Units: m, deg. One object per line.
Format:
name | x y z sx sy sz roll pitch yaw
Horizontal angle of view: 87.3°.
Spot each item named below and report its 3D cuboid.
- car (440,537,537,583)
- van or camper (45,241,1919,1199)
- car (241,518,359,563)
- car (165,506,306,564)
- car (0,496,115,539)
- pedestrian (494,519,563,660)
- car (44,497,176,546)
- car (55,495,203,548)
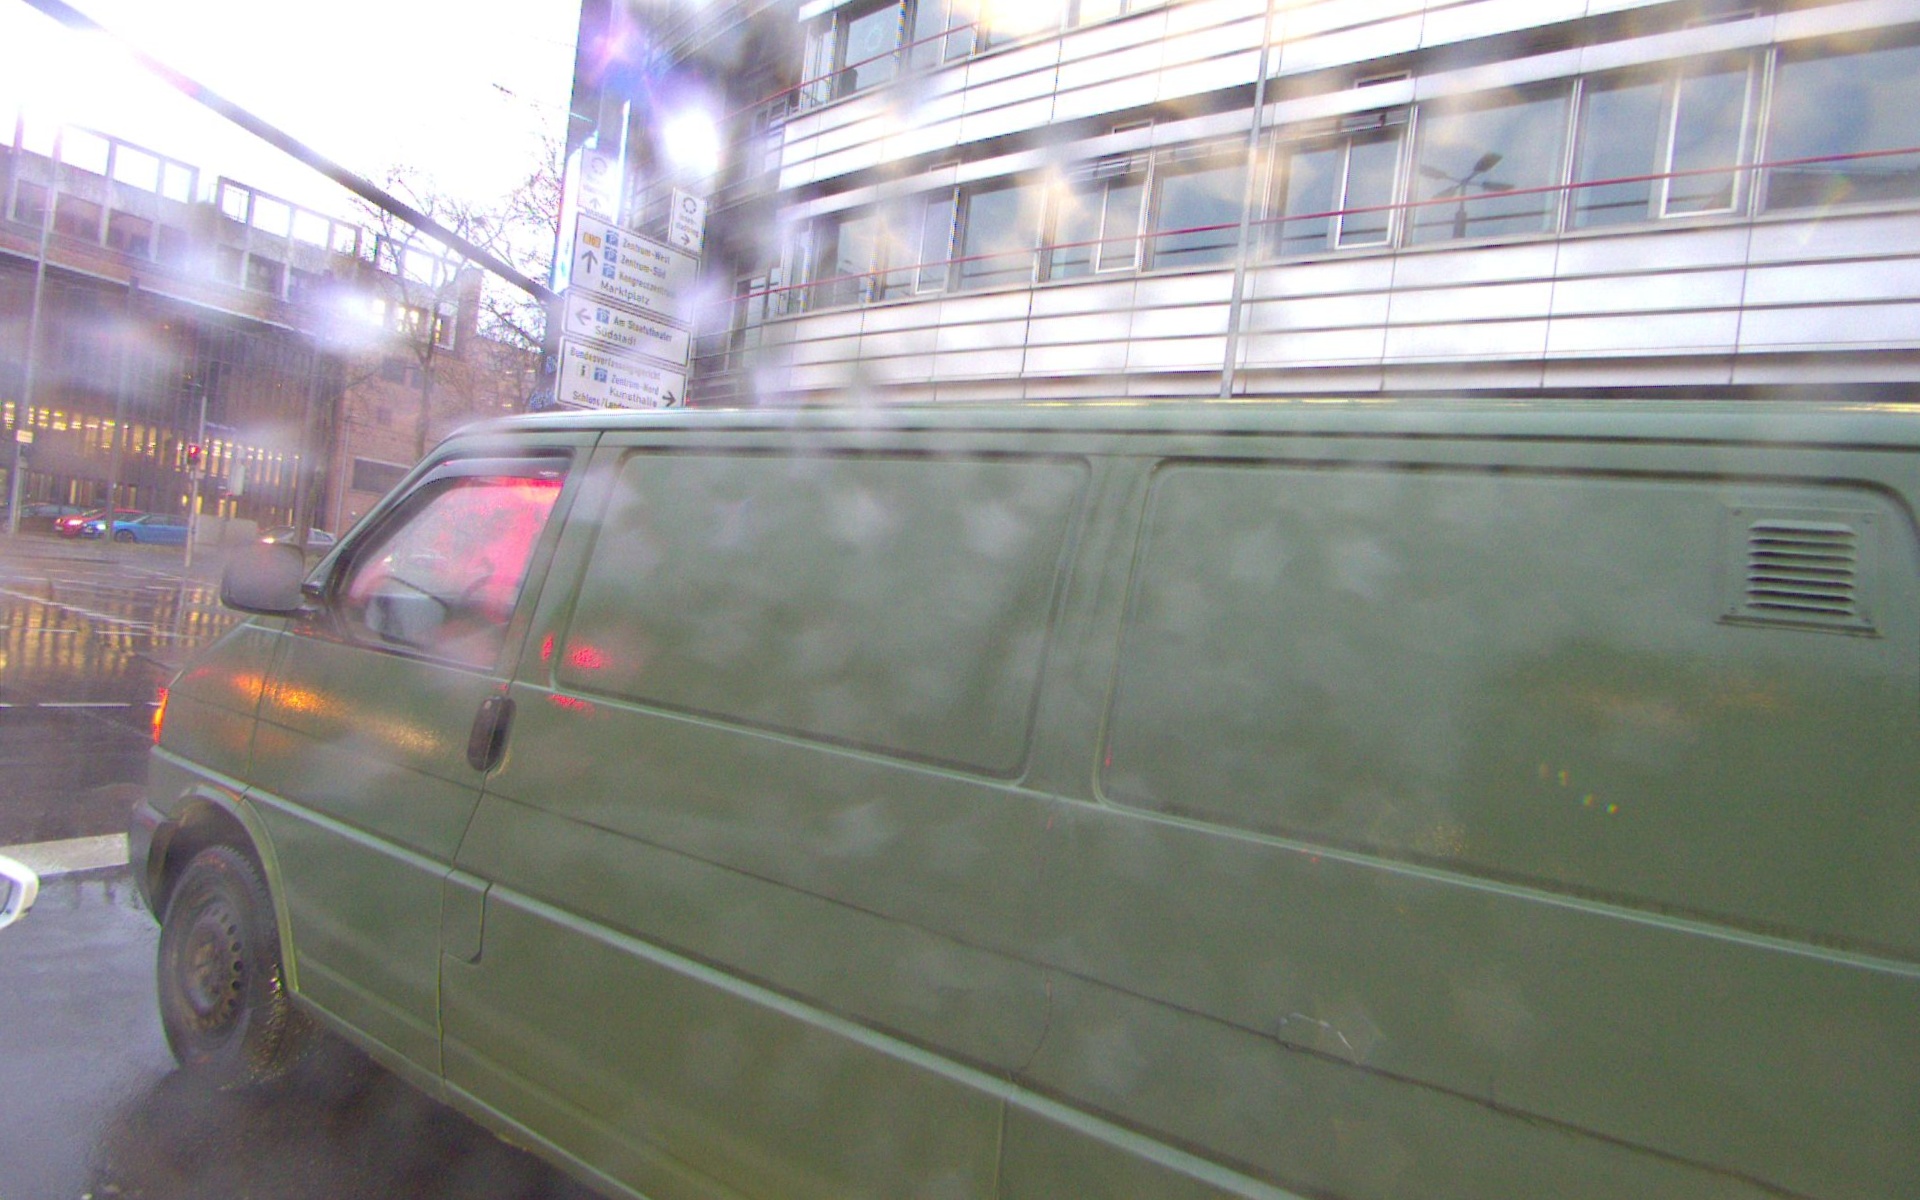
car | -23.568 -1.985 50.406 1.814 1.621 3.997 11 1 26
van or camper | -0.336 0.533 2.625 4.345 1.929 1.760 7 -1 32
car | -29.641 -2.662 45.303 1.814 1.304 3.997 11 1 26
car | -28.309 -2.513 39.440 1.814 1.523 3.997 11 1 26
car | -39.216 -3.566 43.207 1.965 1.326 3.994 7 0 28
pedestrian | -7.025 -0.164 16.387 0.609 2.210 0.576 6 0 26
car | -35.488 -3.252 42.099 1.814 1.278 3.729 11 1 26
car | -32.445 -3.036 39.381 1.814 1.278 3.997 11 1 26
